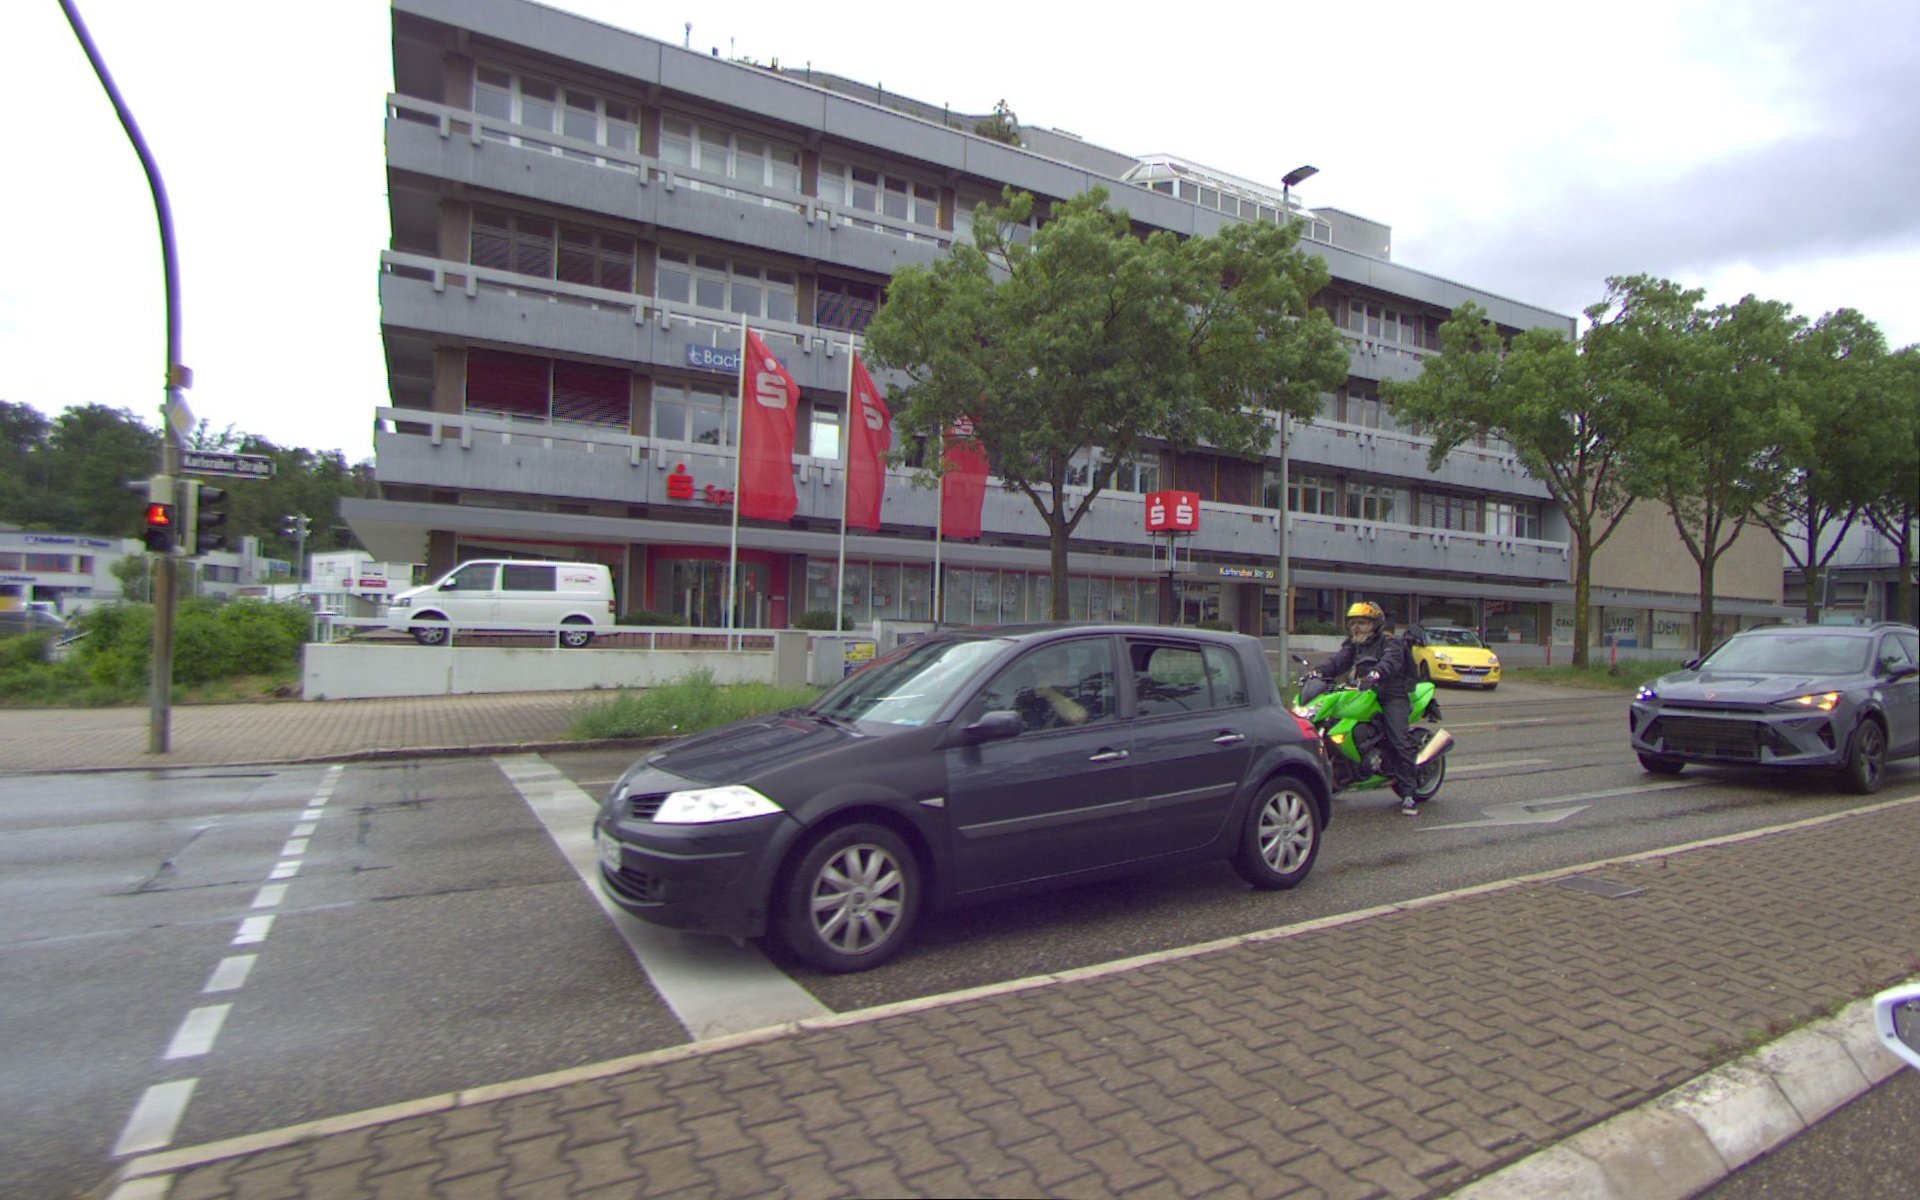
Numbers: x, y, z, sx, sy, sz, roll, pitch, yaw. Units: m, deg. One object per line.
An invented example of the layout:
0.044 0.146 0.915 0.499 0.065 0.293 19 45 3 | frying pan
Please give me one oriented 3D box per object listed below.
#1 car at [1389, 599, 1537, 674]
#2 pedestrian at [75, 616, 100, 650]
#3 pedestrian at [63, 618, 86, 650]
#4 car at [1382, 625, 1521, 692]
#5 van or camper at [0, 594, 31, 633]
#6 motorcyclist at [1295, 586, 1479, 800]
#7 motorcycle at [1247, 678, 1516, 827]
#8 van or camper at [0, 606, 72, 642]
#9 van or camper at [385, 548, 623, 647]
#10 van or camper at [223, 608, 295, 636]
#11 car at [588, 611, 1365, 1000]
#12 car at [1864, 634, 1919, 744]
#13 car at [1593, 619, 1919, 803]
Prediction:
14.798 1.068 29.537 3.952 2.040 1.985 3 0 -29 | car
-49.663 1.880 57.173 0.731 1.910 0.724 0 -1 5 | pedestrian
-49.749 1.912 56.437 0.849 1.802 0.532 0 -1 5 | pedestrian
12.403 1.442 25.655 1.861 1.572 4.003 0 -2 5 | car
-61.265 0.829 61.795 5.657 2.387 1.925 1 -2 -31 | van or camper
3.443 0.699 8.098 1.253 1.580 0.802 1 -1 -31 | motorcyclist
3.428 1.159 8.092 2.296 0.988 0.803 1 -4 -32 | motorcycle
-55.106 1.409 58.605 4.528 2.072 1.840 1 -2 -26 | van or camper
-10.374 -0.003 22.963 4.732 1.993 1.984 3 0 -30 | van or camper
-52.140 1.657 74.735 4.212 2.040 1.801 2 -1 -43 | van or camper
0.242 0.807 5.421 3.957 1.395 1.672 2 -2 -33 | car
14.513 1.160 13.746 4.807 1.394 1.832 1 -5 -31 | car
8.665 0.982 10.195 4.770 1.509 1.737 1 -2 -29 | car
